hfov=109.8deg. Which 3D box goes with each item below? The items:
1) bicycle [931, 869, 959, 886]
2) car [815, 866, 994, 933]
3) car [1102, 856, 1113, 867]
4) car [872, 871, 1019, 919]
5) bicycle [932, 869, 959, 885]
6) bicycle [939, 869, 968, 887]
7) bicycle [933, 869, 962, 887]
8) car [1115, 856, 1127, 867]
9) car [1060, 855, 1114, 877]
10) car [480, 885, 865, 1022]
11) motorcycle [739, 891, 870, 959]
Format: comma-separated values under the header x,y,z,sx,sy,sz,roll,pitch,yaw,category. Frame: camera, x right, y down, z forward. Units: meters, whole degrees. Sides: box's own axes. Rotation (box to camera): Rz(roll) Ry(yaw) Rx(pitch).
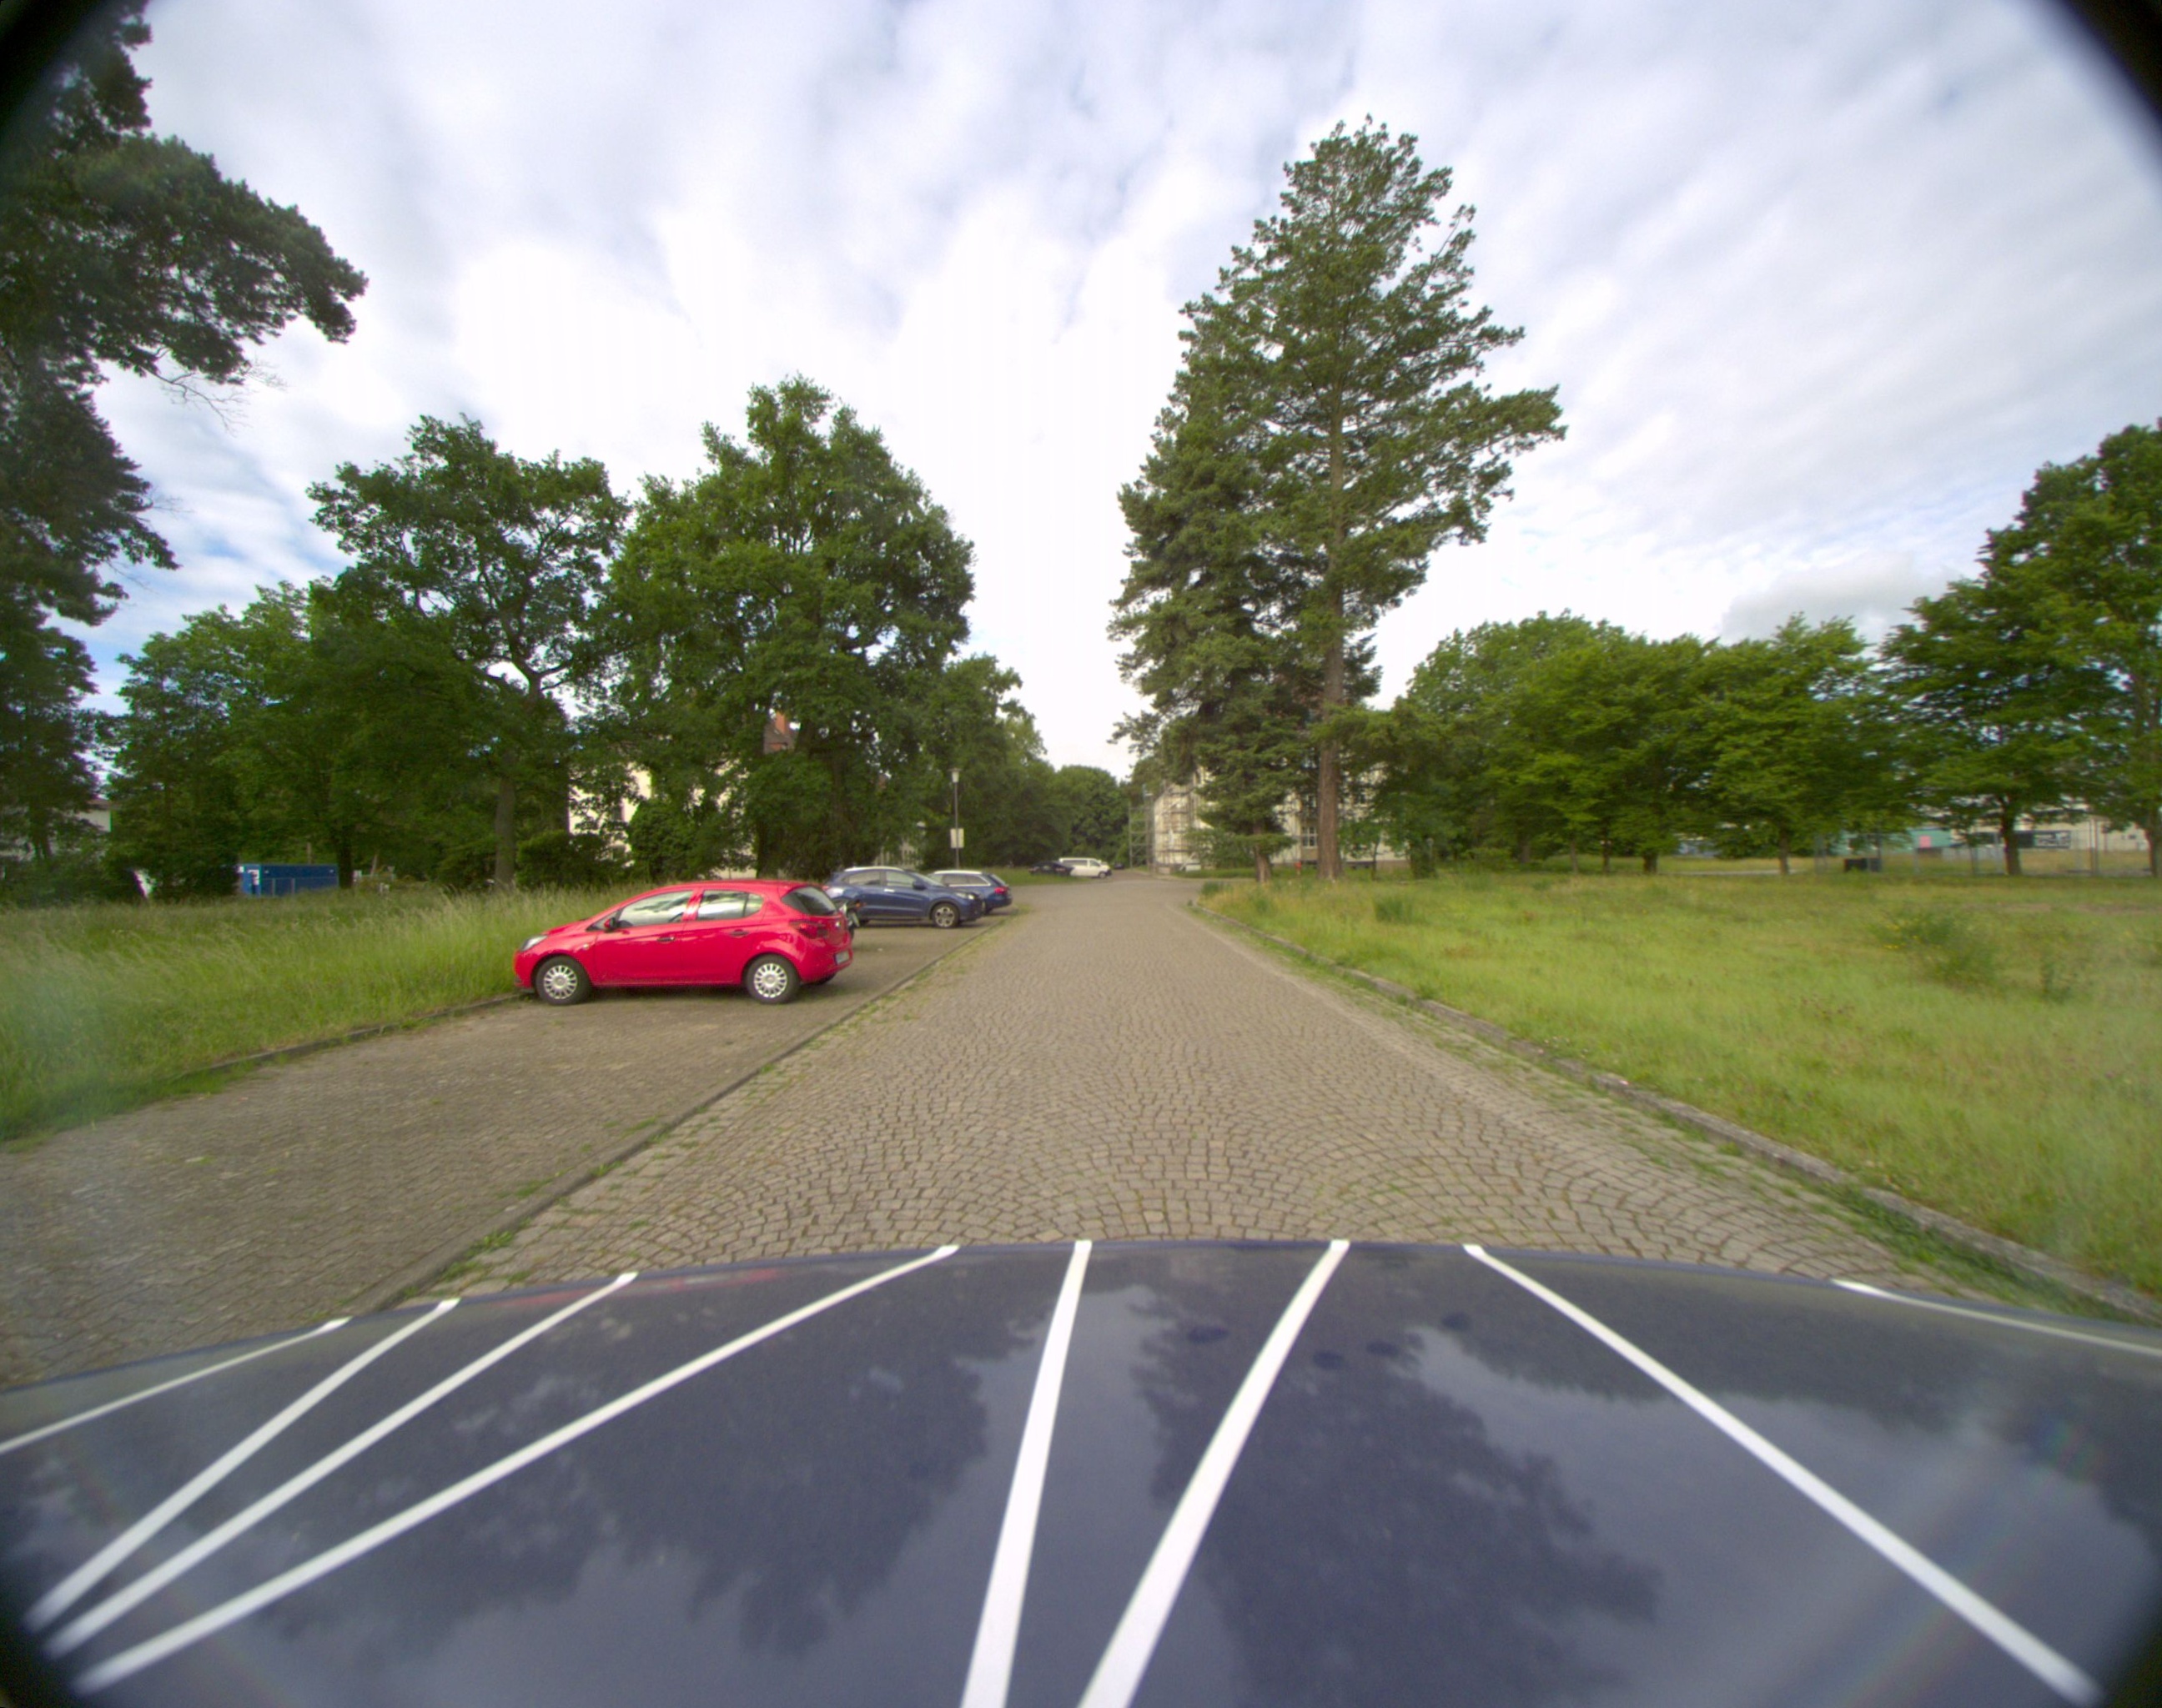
x,y,z,sx,sy,sz,roll,pitch,yaw,category
-10.201,1.757,57.116,1.941,1.163,0.487,-3,1,-21,bicycle
-4.537,1.160,20.033,4.256,1.613,1.886,-1,0,0,car
4.819,1.384,139.608,1.962,2.002,4.260,-1,0,0,car
-4.321,1.305,24.771,4.367,1.430,1.927,-1,0,3,car
-10.533,1.776,58.975,1.940,1.163,0.537,-3,1,-15,bicycle
-9.033,1.692,53.926,1.942,1.163,0.487,-3,1,-26,bicycle
-9.642,1.725,54.857,1.942,1.163,0.487,-3,1,-24,bicycle
7.359,1.314,139.801,1.962,2.002,4.260,-1,0,0,car
0.594,1.155,73.494,5.149,2.002,2.000,-1,0,1,car
-5.006,1.193,9.735,3.933,1.487,1.785,-1,0,0,car
-5.152,1.319,14.234,2.236,1.195,0.568,-1,0,-1,motorcycle
